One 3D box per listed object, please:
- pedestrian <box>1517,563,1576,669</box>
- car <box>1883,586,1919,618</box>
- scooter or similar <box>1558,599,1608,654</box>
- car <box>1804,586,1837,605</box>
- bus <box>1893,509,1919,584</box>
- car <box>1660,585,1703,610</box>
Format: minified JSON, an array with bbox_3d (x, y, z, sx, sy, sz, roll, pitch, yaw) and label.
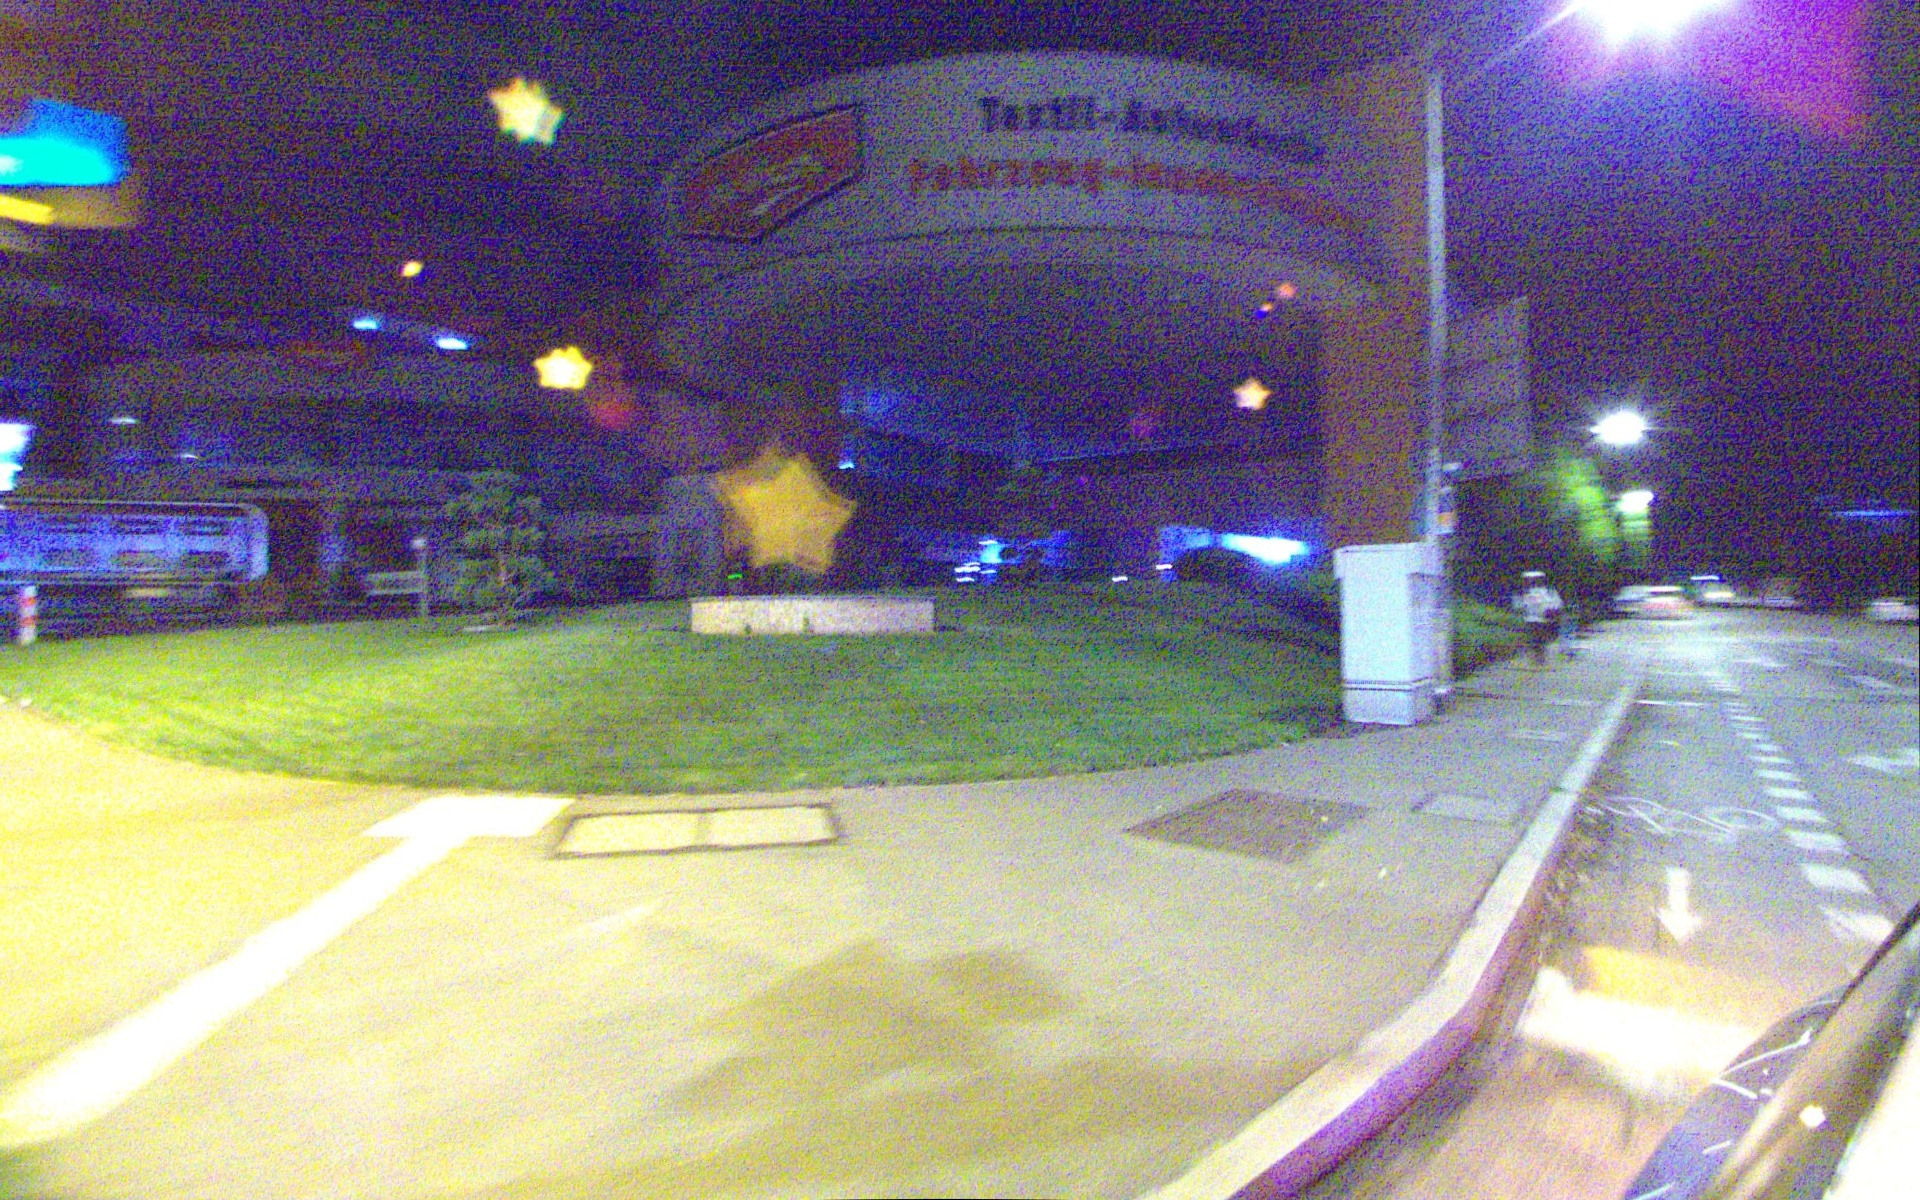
[{"bbox_3d":[10.831,0.279,18.676,0.815,1.888,1.020,0,0,38],"label":"pedestrian"},{"bbox_3d":[48.677,0.082,51.716,1.797,1.612,3.947,0,0,37],"label":"car"},{"bbox_3d":[14.008,0.591,22.744,1.112,1.217,0.469,1,-1,-29],"label":"scooter or similar"},{"bbox_3d":[71.109,-0.371,83.631,1.854,1.511,4.025,0,0,38],"label":"car"},{"bbox_3d":[96.880,-5.172,99.562,6.106,7.025,14.582,0,0,38],"label":"bus"},{"bbox_3d":[51.007,-0.169,71.484,1.993,1.668,3.938,2,2,43],"label":"car"}]
